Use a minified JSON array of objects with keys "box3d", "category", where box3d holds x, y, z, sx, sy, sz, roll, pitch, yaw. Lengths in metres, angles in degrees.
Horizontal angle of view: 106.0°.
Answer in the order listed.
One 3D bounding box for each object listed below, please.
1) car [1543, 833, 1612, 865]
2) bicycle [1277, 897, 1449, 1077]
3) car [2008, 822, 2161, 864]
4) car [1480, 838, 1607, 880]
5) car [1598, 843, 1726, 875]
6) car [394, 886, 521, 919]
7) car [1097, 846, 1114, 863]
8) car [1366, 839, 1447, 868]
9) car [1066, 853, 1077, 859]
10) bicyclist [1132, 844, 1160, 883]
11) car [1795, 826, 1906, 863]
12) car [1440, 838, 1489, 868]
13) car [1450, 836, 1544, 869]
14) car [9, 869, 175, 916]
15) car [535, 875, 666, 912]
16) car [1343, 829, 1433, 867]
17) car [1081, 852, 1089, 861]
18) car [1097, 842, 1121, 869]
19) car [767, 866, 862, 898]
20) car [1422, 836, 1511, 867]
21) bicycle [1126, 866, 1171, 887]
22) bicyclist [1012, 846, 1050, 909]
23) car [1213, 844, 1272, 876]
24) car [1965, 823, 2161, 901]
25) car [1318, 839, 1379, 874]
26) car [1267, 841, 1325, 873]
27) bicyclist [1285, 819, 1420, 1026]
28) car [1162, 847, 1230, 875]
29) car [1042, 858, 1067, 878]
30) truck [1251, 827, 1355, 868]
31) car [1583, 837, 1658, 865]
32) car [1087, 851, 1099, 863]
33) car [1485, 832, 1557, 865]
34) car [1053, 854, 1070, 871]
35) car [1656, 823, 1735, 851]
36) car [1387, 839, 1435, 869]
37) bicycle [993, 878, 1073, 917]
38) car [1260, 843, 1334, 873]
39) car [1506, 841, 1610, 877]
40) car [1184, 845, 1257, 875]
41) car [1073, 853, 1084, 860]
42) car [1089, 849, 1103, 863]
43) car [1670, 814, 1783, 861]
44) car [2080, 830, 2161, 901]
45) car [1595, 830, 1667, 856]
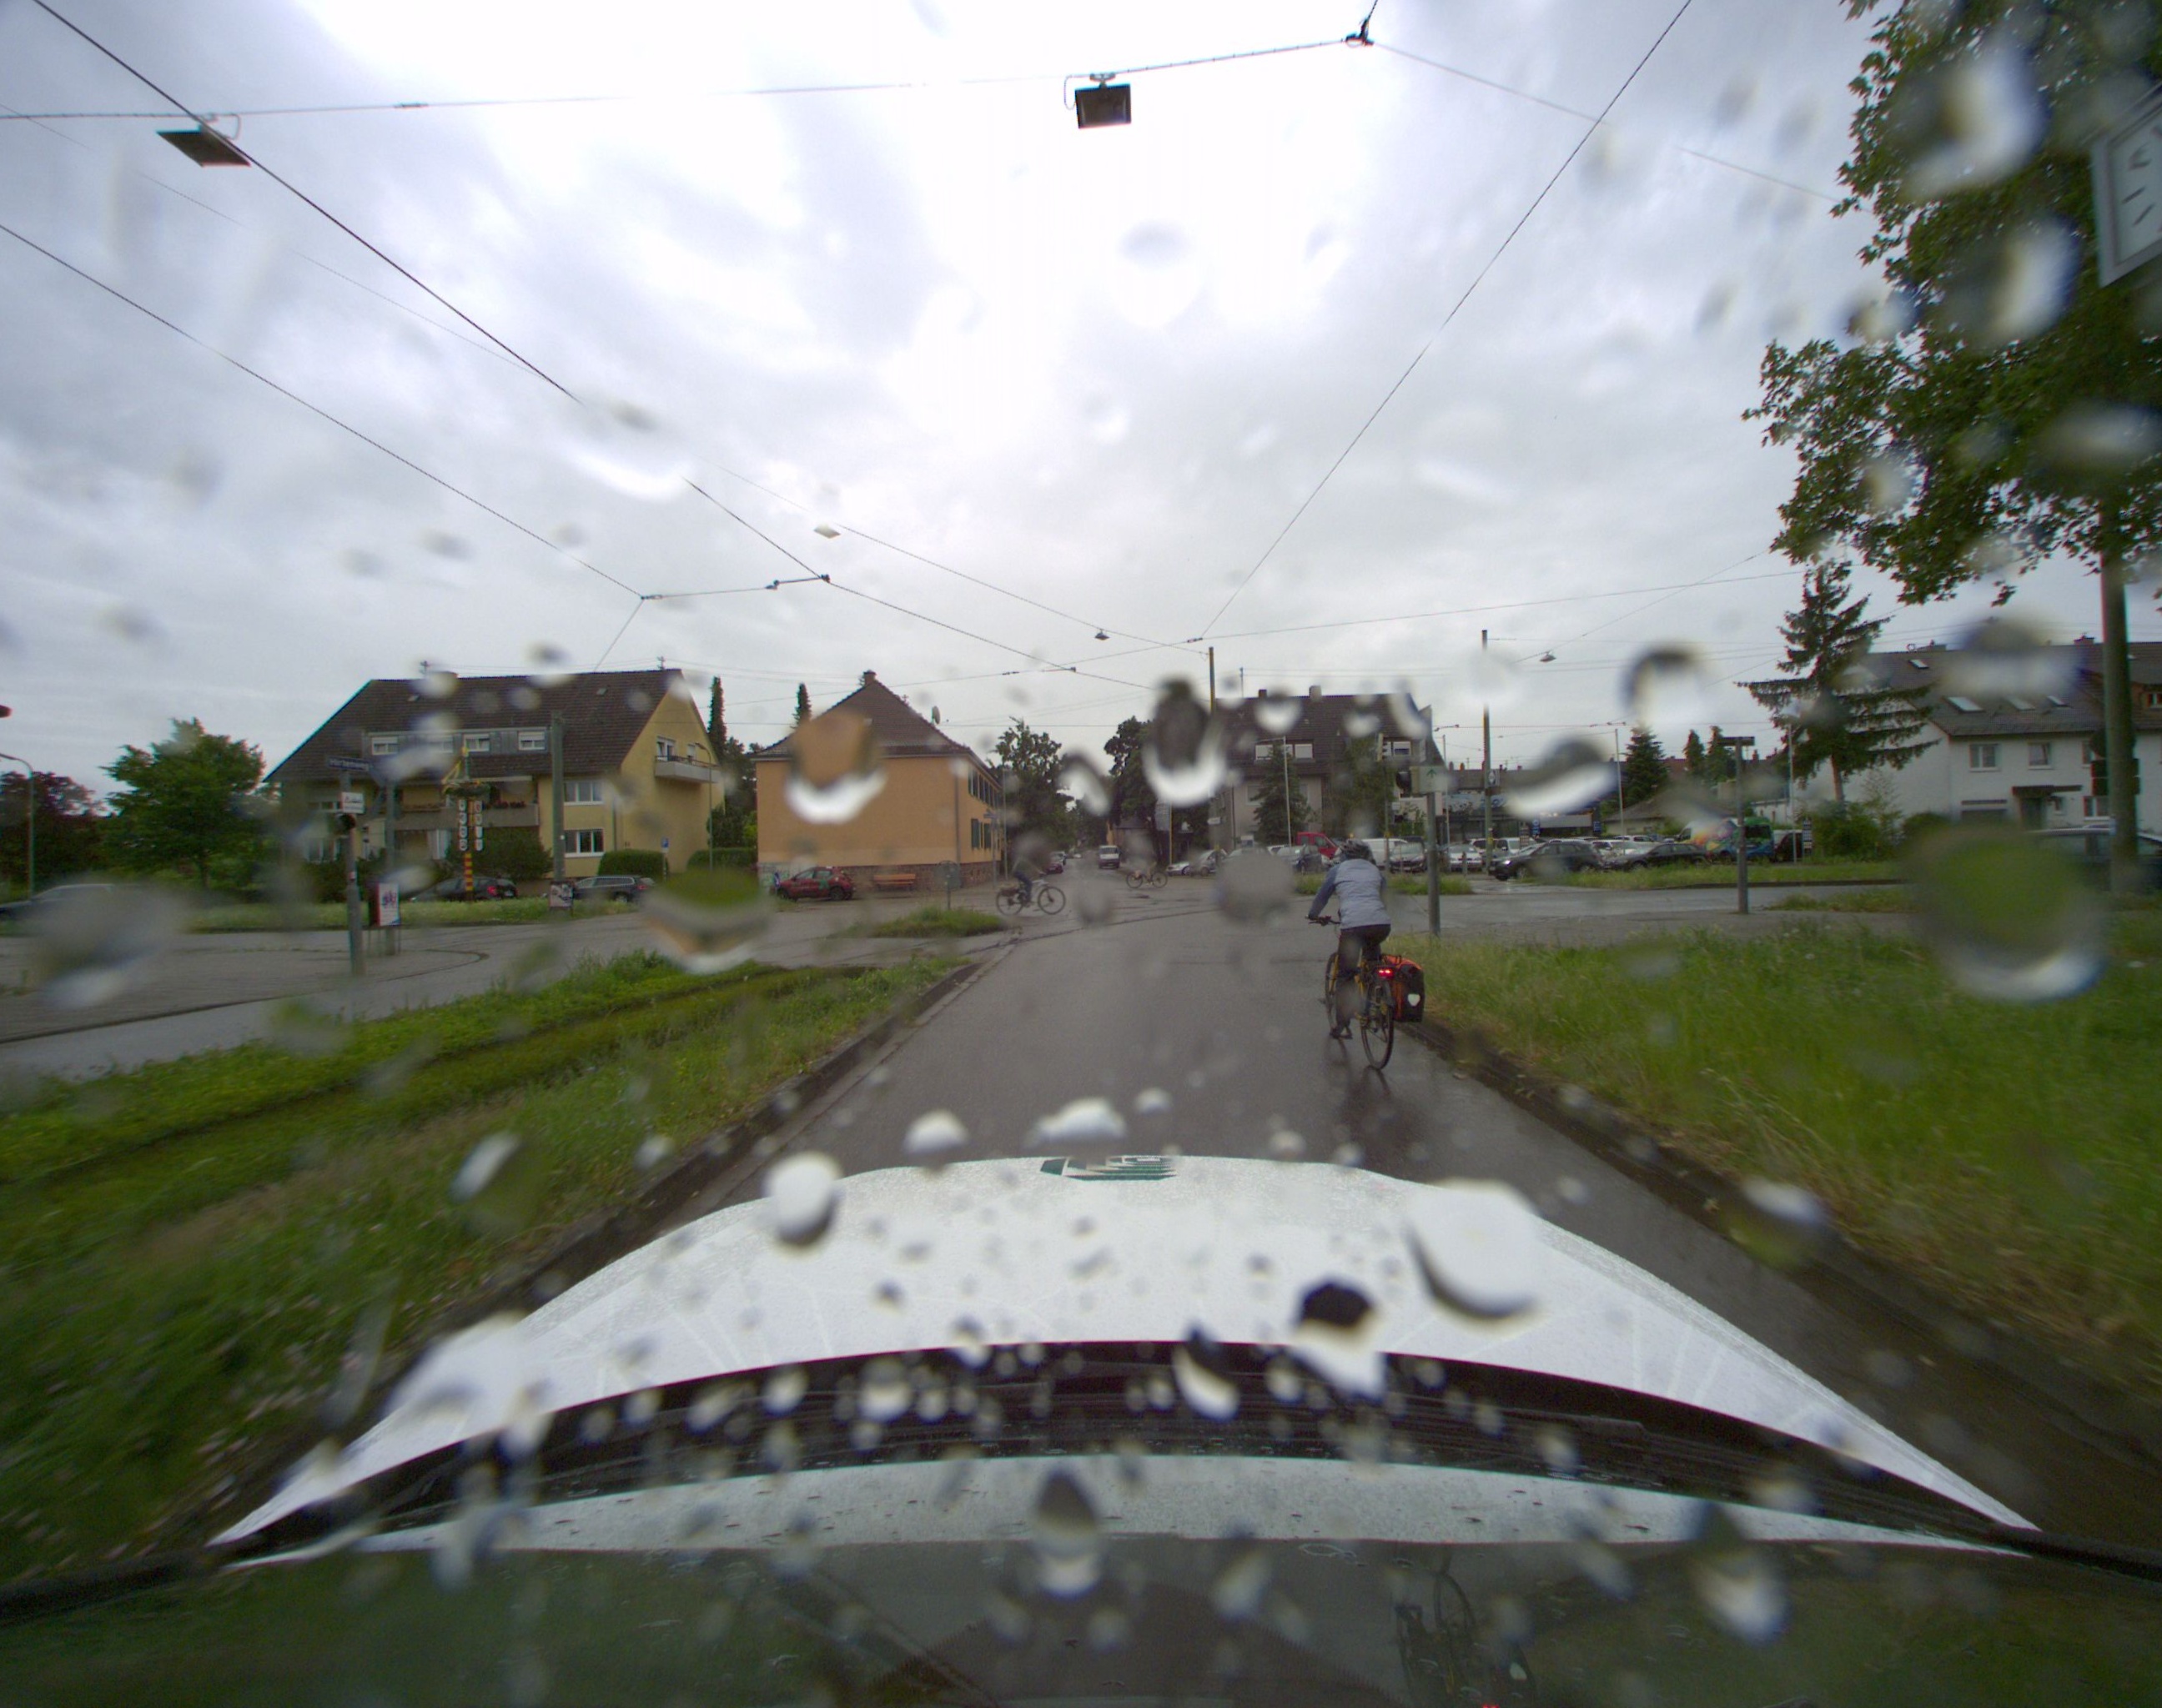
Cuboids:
[{"box3d":[26.121,-0.253,42.961,1.709,1.573,3.622,0,0,5],"category":"car"},{"box3d":[2.127,0.949,6.437,0.749,1.073,1.929,-3,0,3],"category":"bicycle"},{"box3d":[40.572,-0.425,32.699,4.545,1.605,1.999,0,0,-2],"category":"car"},{"box3d":[18.644,0.197,32.968,3.974,1.476,2.000,-2,0,-1],"category":"car"},{"box3d":[25.476,0.215,35.815,4.357,1.339,1.724,1,0,2],"category":"car"},{"box3d":[-26.595,2.060,34.840,3.976,1.332,1.758,0,0,-2],"category":"car"},{"box3d":[2.901,0.094,98.104,1.986,2.013,4.001,0,0,1],"category":"car"},{"box3d":[20.745,-0.006,52.042,4.413,1.687,2.002,-2,-1,3],"category":"car"},{"box3d":[-2.324,0.515,206.703,1.832,1.697,4.011,0,0,-15],"category":"car"},{"box3d":[2.768,0.412,34.594,1.035,1.598,0.949,-3,0,0],"category":"bicyclist"},{"box3d":[40.228,-0.497,42.636,3.869,1.565,2.000,-5,0,0],"category":"car"},{"box3d":[19.895,-0.053,42.393,1.813,1.504,4.077,0,0,18],"category":"car"},{"box3d":[23.808,-0.067,46.726,4.414,1.687,1.762,-2,-1,3],"category":"car"},{"box3d":[-40.228,1.550,33.230,3.982,1.794,1.996,0,0,-6],"category":"car"},{"box3d":[-20.824,1.714,35.459,4.477,1.396,1.966,-1,0,-1],"category":"car"},{"box3d":[17.770,-0.326,47.282,4.413,2.014,2.002,-2,-1,3],"category":"car"},{"box3d":[0.855,0.535,182.933,1.823,2.013,3.998,0,0,-1],"category":"car"},{"box3d":[2.761,0.149,80.497,2.147,2.572,4.131,0,0,-1],"category":"car"},{"box3d":[-11.705,1.234,35.898,3.595,1.339,1.722,0,0,-2],"category":"car"},{"box3d":[23.188,-0.115,49.146,4.413,1.687,2.002,-2,-1,3],"category":"car"},{"box3d":[2.841,0.961,34.593,1.808,0.786,0.942,-3,0,-1],"category":"bicycle"},{"box3d":[-1.248,0.588,20.621,0.908,1.558,0.833,-1,-1,-2],"category":"bicyclist"},{"box3d":[8.928,0.307,44.782,1.784,1.578,3.897,-3,0,34],"category":"car"},{"box3d":[20.978,0.139,16.296,1.809,1.476,4.138,-2,0,-28],"category":"car"},{"box3d":[14.058,0.107,42.662,1.974,1.717,4.026,-3,0,34],"category":"car"},{"box3d":[11.525,0.131,43.551,1.784,1.578,3.897,-3,0,34],"category":"car"},{"box3d":[2.100,0.507,6.417,0.748,1.485,0.847,-3,0,3],"category":"bicyclist"},{"box3d":[7.272,0.408,51.540,3.871,1.578,1.796,-2,0,-19],"category":"car"},{"box3d":[-2.192,1.176,68.364,1.988,1.618,3.998,-2,-1,-1],"category":"car"},{"box3d":[13.943,-0.394,51.231,6.031,2.272,2.010,-2,-1,21],"category":"truck"},{"box3d":[28.531,-0.144,43.192,1.709,1.396,3.847,0,0,5],"category":"car"},{"box3d":[2.045,0.547,137.020,1.823,2.013,3.998,0,0,-1],"category":"car"},{"box3d":[23.137,-0.294,42.970,1.794,1.578,3.875,-2,0,3],"category":"car"},{"box3d":[-2.447,1.035,102.027,1.986,2.013,4.001,0,0,1],"category":"car"},{"box3d":[38.332,-1.045,50.805,4.401,1.580,1.852,-2,-1,-21],"category":"car"},{"box3d":[17.291,0.014,42.517,1.810,1.504,4.083,0,0,29],"category":"car"},{"box3d":[-1.201,1.094,20.599,1.973,0.912,0.823,-1,-1,-2],"category":"bicycle"},{"box3d":[12.804,0.236,48.206,3.932,1.598,2.010,-2,-1,21],"category":"car"},{"box3d":[20.957,0.221,35.864,3.620,1.504,1.723,0,0,0],"category":"car"},{"box3d":[8.239,0.329,48.209,3.871,1.578,1.796,-2,0,-19],"category":"car"},{"box3d":[-0.680,0.524,201.250,1.832,1.697,4.011,0,0,-15],"category":"car"},{"box3d":[2.176,0.311,116.998,1.823,2.013,3.998,0,0,-1],"category":"car"},{"box3d":[34.722,-0.831,44.030,2.137,2.406,5.150,0,0,1],"category":"car"},{"box3d":[23.865,0.201,16.338,1.807,1.476,4.512,-2,0,-24],"category":"car"},{"box3d":[37.599,-0.734,55.671,4.448,1.580,1.781,-2,-1,-21],"category":"car"}]
